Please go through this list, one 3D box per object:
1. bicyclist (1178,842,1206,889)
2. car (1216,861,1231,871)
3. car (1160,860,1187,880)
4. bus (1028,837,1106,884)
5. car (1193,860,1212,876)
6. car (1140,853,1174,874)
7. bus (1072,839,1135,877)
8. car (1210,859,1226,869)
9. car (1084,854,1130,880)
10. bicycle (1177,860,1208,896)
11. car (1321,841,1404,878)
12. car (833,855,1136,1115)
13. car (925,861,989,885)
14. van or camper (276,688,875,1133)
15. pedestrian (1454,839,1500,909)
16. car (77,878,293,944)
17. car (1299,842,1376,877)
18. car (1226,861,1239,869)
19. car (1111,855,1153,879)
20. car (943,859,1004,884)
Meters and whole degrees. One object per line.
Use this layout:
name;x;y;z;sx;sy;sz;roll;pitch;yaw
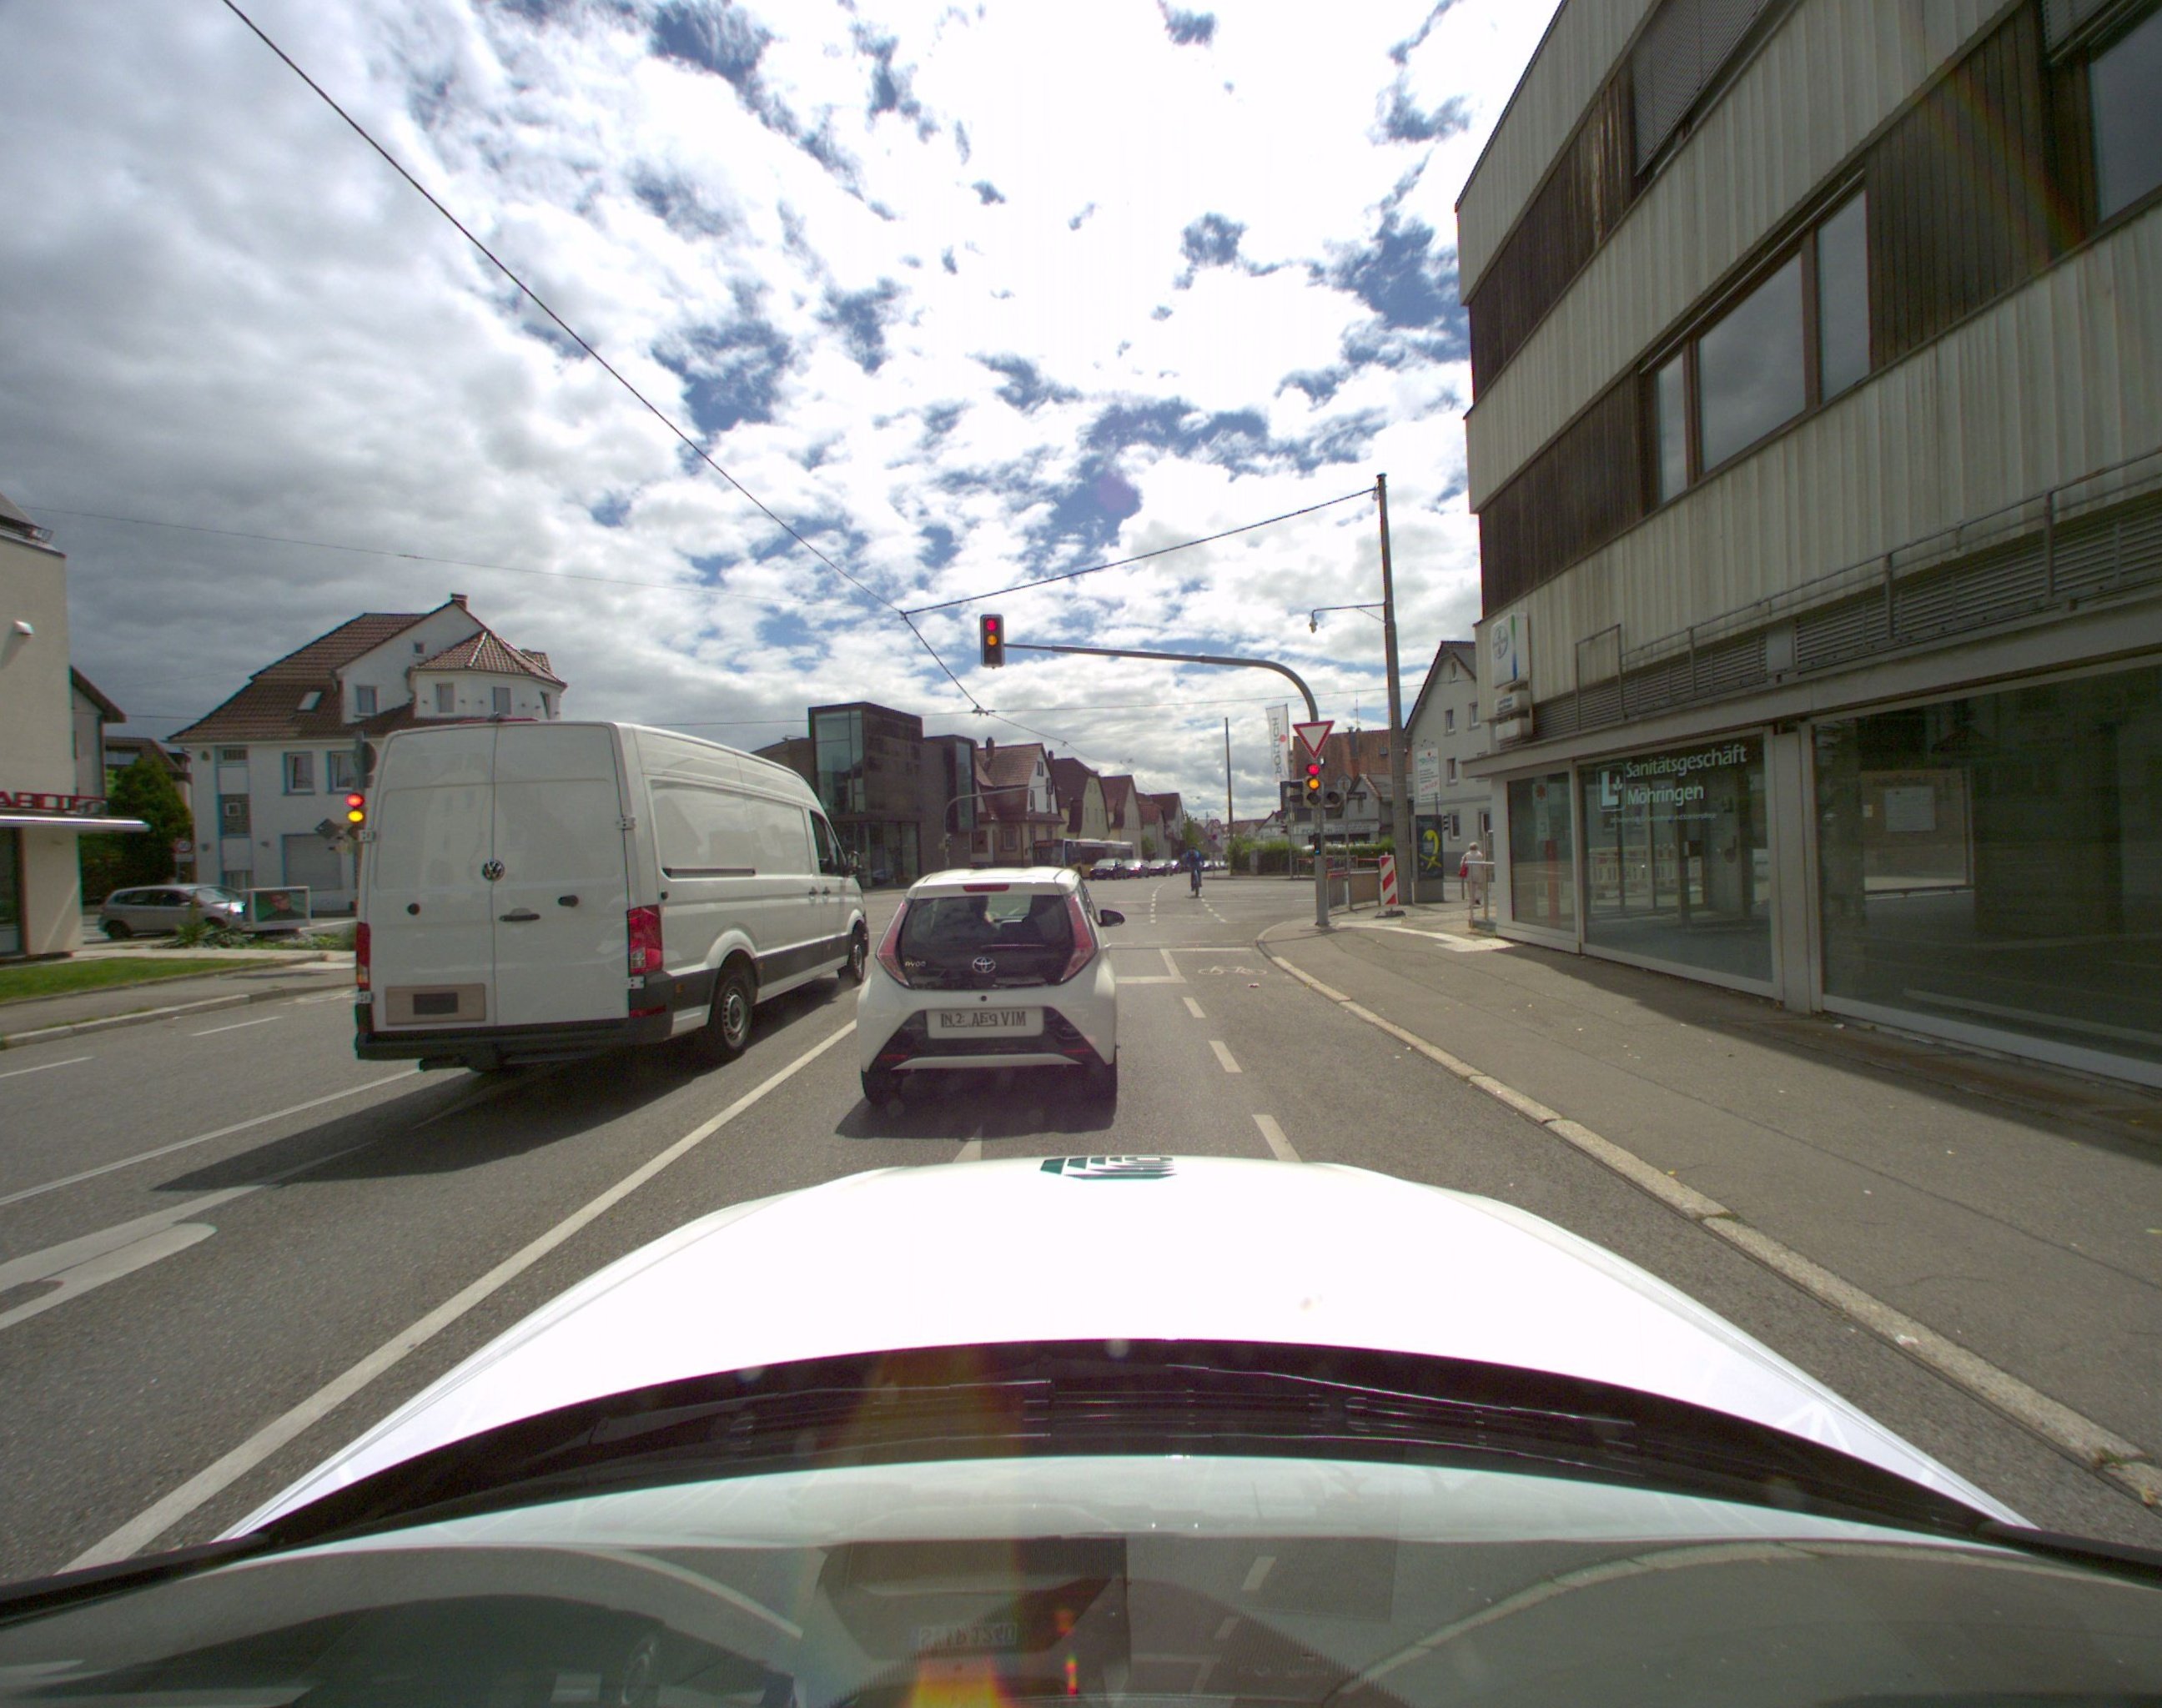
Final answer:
bicyclist;3.859;0.397;28.360;0.837;1.614;1.083;1;0;1
car;24.649;2.025;140.910;1.977;1.640;4.020;-1;0;19
car;10.388;1.791;91.682;1.976;2.013;4.021;-2;0;22
bus;-0.818;0.415;58.172;2.756;3.060;9.233;-1;0;17
car;16.381;1.860;109.851;1.979;2.013;4.016;-1;0;15
car;6.528;0.808;69.761;1.977;1.640;4.020;-1;0;19
bus;2.010;0.286;67.068;2.756;2.914;9.233;-1;0;17
car;22.723;1.623;135.250;1.977;1.640;4.020;-1;0;19
car;1.814;0.883;55.338;1.977;1.640;4.020;-1;0;19
bicycle;3.879;0.821;28.436;0.829;1.164;2.193;-2;0;2
car;16.121;0.314;46.734;3.984;1.948;1.995;-1;-1;-8
car;-0.568;0.768;6.540;1.733;1.460;3.531;-2;0;0
car;-8.763;1.365;57.700;3.957;1.640;2.008;-1;0;15
van or camper;-3.776;0.333;7.767;2.101;2.586;5.643;-3;0;-1
pedestrian;9.442;0.470;19.445;0.827;1.637;0.878;-2;0;18
car;-26.553;1.664;24.276;3.981;1.684;1.996;-2;0;-6
car;15.467;0.334;49.217;3.983;2.013;1.995;-1;0;-7
car;30.188;2.166;161.911;1.977;1.640;4.020;-1;0;19
car;3.823;0.959;60.525;1.977;1.640;4.204;-1;0;19
car;-7.978;1.297;60.558;3.957;1.684;2.008;-2;0;15
